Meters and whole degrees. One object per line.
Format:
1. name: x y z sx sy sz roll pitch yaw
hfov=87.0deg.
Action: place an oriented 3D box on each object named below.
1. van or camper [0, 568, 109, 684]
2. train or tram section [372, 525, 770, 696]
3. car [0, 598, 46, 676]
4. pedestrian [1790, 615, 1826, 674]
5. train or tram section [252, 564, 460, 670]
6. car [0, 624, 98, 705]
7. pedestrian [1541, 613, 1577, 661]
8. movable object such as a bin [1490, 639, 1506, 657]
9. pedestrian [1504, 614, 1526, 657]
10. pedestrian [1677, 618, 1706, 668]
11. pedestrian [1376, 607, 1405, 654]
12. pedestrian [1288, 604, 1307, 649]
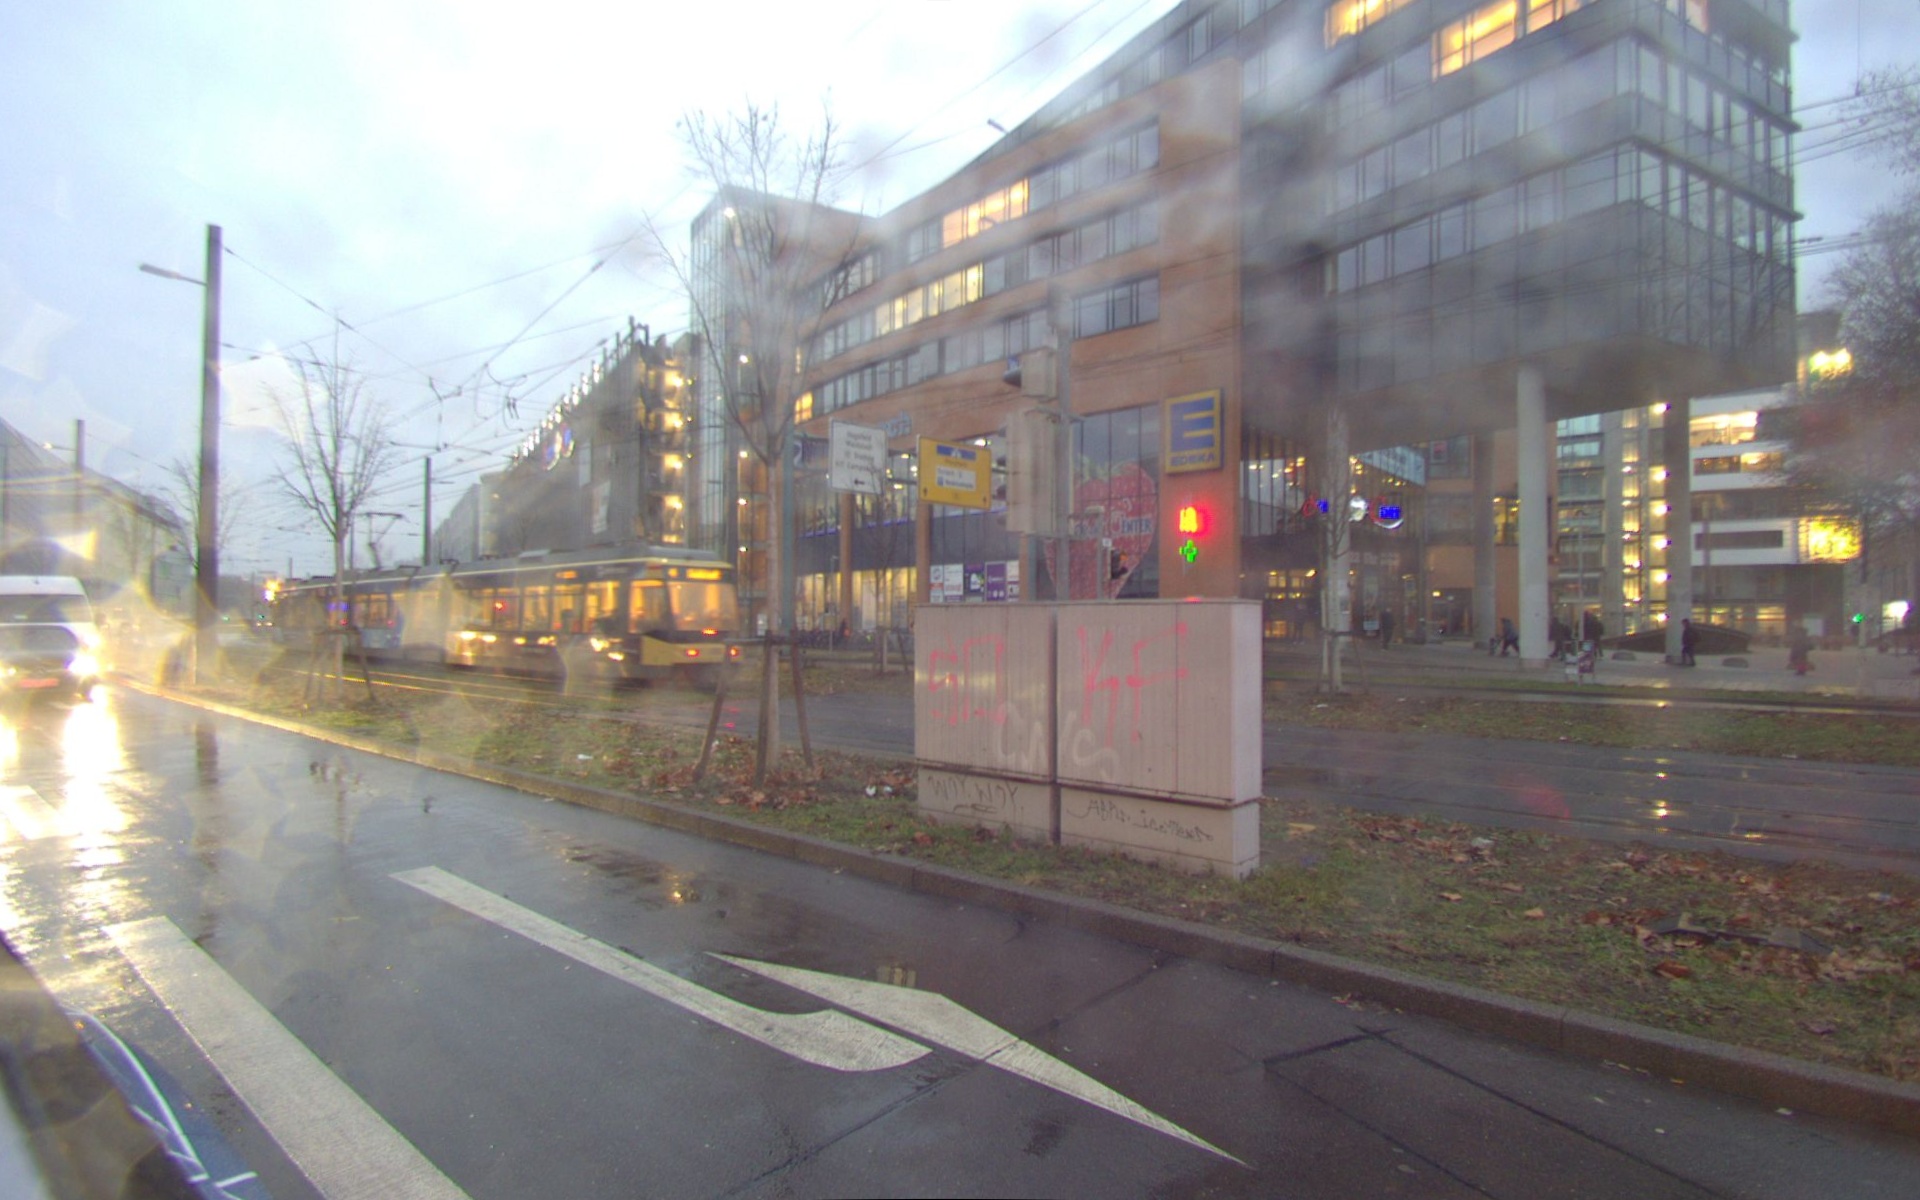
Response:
1. van or camper: -22.842 0.627 24.764 5.894 2.551 2.126 -1 -2 40
2. train or tram section: -12.344 0.404 29.259 19.217 3.642 2.832 -1 -2 44
3. car: -37.655 1.417 39.568 5.810 2.885 2.102 -1 -2 41
4. pedestrian: 26.334 1.366 31.431 0.821 1.787 0.564 -1 -2 42
5. train or tram section: -26.287 0.781 43.019 2.831 3.642 20.082 2 -2 -45
6. car: -17.736 1.155 19.151 4.057 1.355 1.735 -1 -1 44
7. pedestrian: 21.889 1.356 36.990 0.994 1.725 0.787 1 -2 -34
8. movable object such as a bin: 20.582 1.840 38.706 0.484 0.694 0.353 -1 -2 33
9. pedestrian: 21.060 1.344 38.383 0.674 1.620 0.449 -1 -2 33
10. pedestrian: 25.671 1.510 35.512 0.784 1.725 0.647 -1 -2 39
11. pedestrian: 16.361 1.163 38.466 0.782 1.766 0.704 0 -2 -1
12. pedestrian: 13.437 1.063 40.291 0.658 1.766 0.534 0 -2 12
